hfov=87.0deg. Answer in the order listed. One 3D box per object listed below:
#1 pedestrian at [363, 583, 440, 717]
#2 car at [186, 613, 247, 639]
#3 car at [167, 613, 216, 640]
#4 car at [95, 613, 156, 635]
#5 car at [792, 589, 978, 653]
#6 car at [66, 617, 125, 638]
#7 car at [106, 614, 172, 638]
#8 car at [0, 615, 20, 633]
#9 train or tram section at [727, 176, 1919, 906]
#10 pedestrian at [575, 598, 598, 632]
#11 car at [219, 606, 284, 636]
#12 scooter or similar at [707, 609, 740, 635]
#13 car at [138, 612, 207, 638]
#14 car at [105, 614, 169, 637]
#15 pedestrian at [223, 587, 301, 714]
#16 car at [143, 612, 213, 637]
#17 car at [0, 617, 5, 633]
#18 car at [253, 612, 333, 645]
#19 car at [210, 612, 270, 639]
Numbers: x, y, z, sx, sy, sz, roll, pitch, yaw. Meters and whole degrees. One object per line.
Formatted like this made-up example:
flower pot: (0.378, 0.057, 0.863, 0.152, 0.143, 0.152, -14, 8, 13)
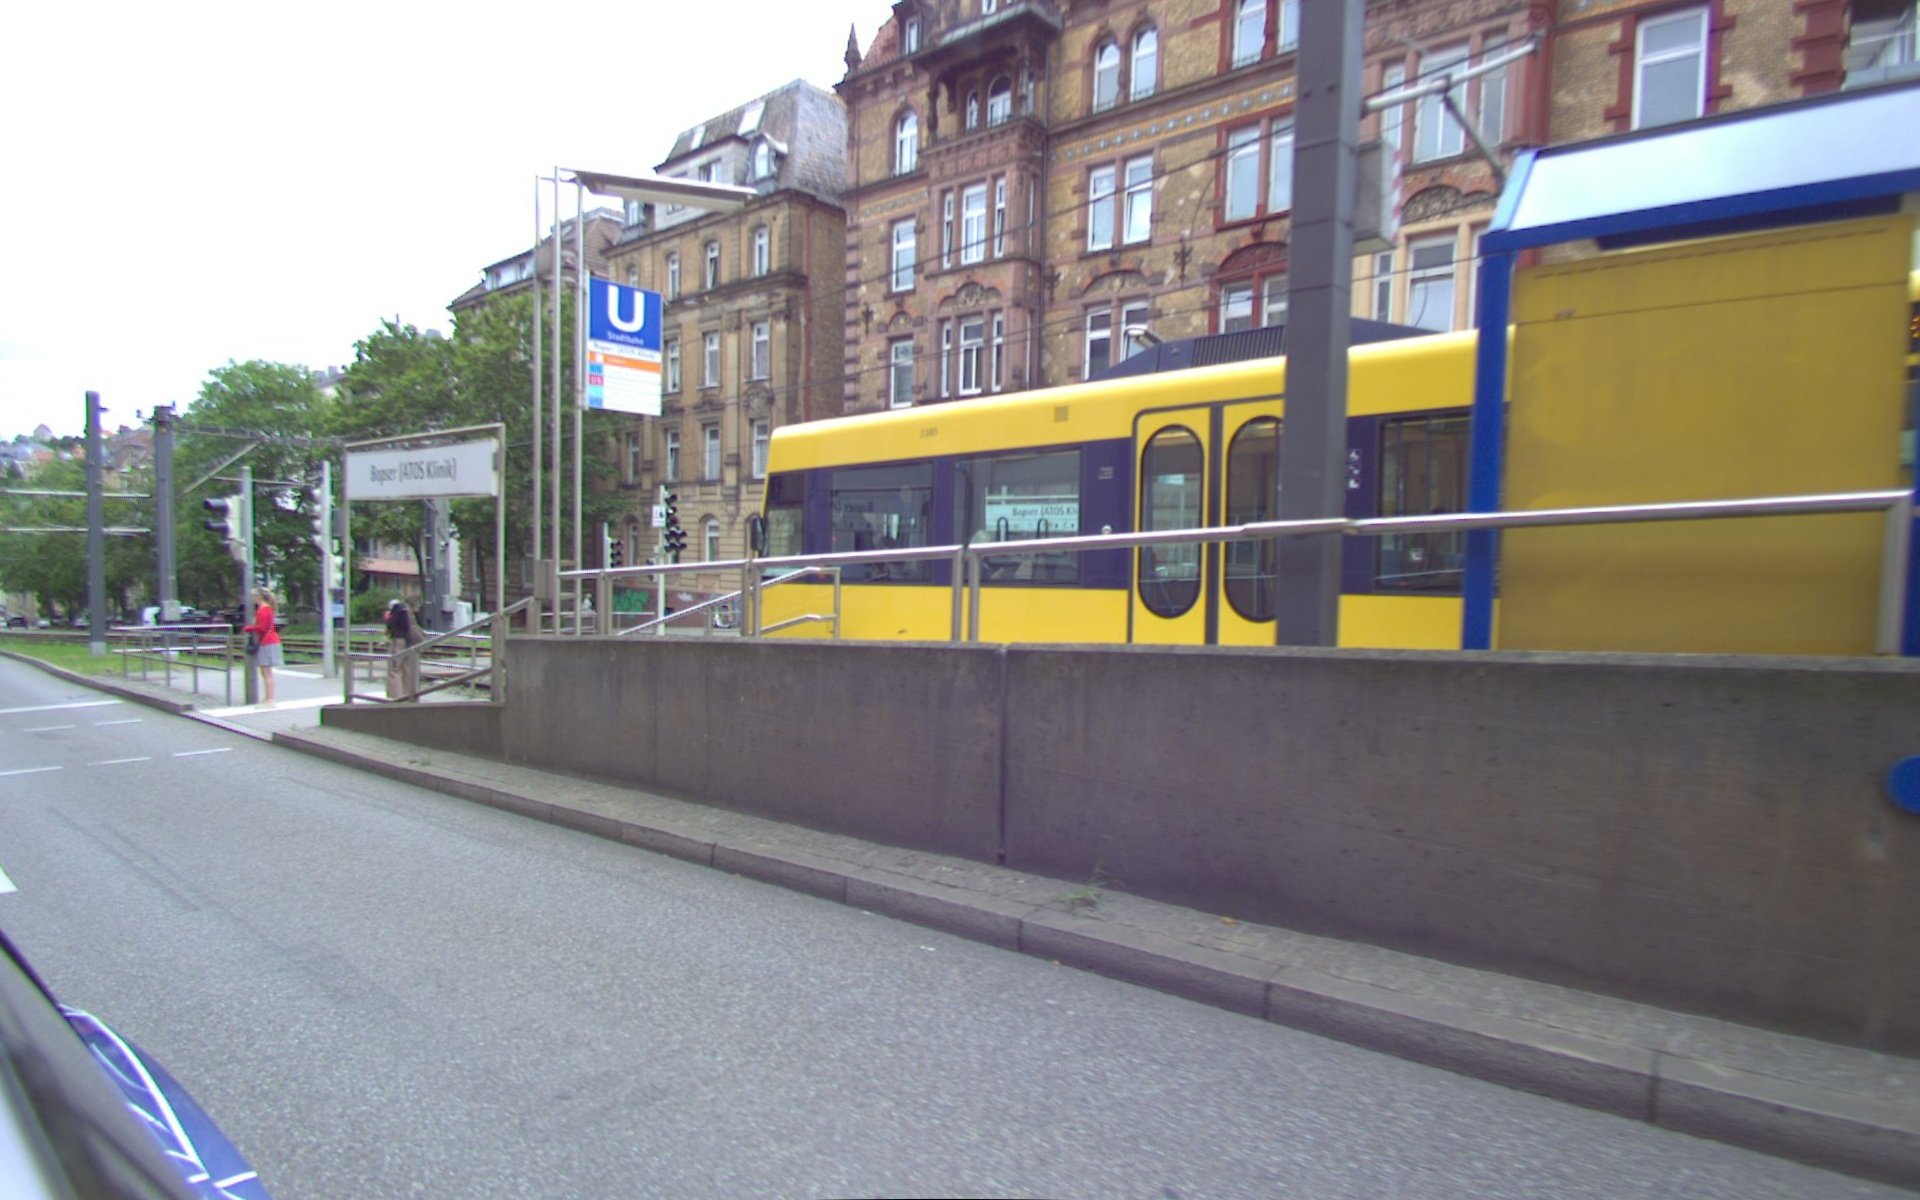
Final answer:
pedestrian: (-7.354, 0.643, 13.340, 0.658, 1.708, 0.616, -1, 0, 31)
car: (-50.341, 1.739, 68.595, 1.756, 1.700, 3.865, -2, -1, -8)
car: (-54.996, 1.879, 72.491, 1.754, 1.700, 3.871, -2, 1, -21)
car: (-74.649, 2.137, 90.587, 1.775, 1.828, 3.825, -2, 0, 25)
car: (-1.920, 0.503, 25.092, 4.555, 1.429, 1.864, -1, 0, 39)
car: (-81.617, 2.597, 95.575, 1.775, 1.828, 3.825, -2, 0, 25)
car: (-66.909, 2.067, 82.549, 1.775, 1.828, 3.825, -1, 0, 25)
car: (-114.866, 2.916, 121.687, 3.991, 2.029, 1.976, -2, 0, 35)
train or tram section: (2.942, -0.403, 8.461, 12.394, 3.569, 2.918, 2, 2, 42)
pedestrian: (-16.849, 0.666, 45.656, 0.740, 1.524, 0.680, -2, 0, 42)
car: (-43.753, 1.254, 62.573, 1.756, 1.700, 3.866, -2, 0, -9)
scooter or similar: (-8.896, 0.820, 38.052, 0.423, 0.949, 1.588, -1, 0, -44)
car: (-60.210, 1.924, 77.418, 1.770, 1.828, 3.836, -2, 0, 18)
car: (-70.583, 2.187, 86.836, 1.775, 1.828, 3.825, -2, 0, 25)
pedestrian: (-9.613, 0.675, 13.945, 0.684, 1.693, 0.671, -1, 0, 38)
car: (-58.593, 1.848, 75.930, 1.770, 1.700, 3.836, -2, 0, 18)
car: (-124.953, 3.258, 130.790, 4.000, 2.029, 1.972, -2, 0, 43)
car: (-38.925, 1.632, 59.143, 1.764, 1.700, 3.848, -2, 1, 9)
car: (-48.130, 1.691, 67.755, 1.756, 1.700, 3.866, -2, 0, -9)
